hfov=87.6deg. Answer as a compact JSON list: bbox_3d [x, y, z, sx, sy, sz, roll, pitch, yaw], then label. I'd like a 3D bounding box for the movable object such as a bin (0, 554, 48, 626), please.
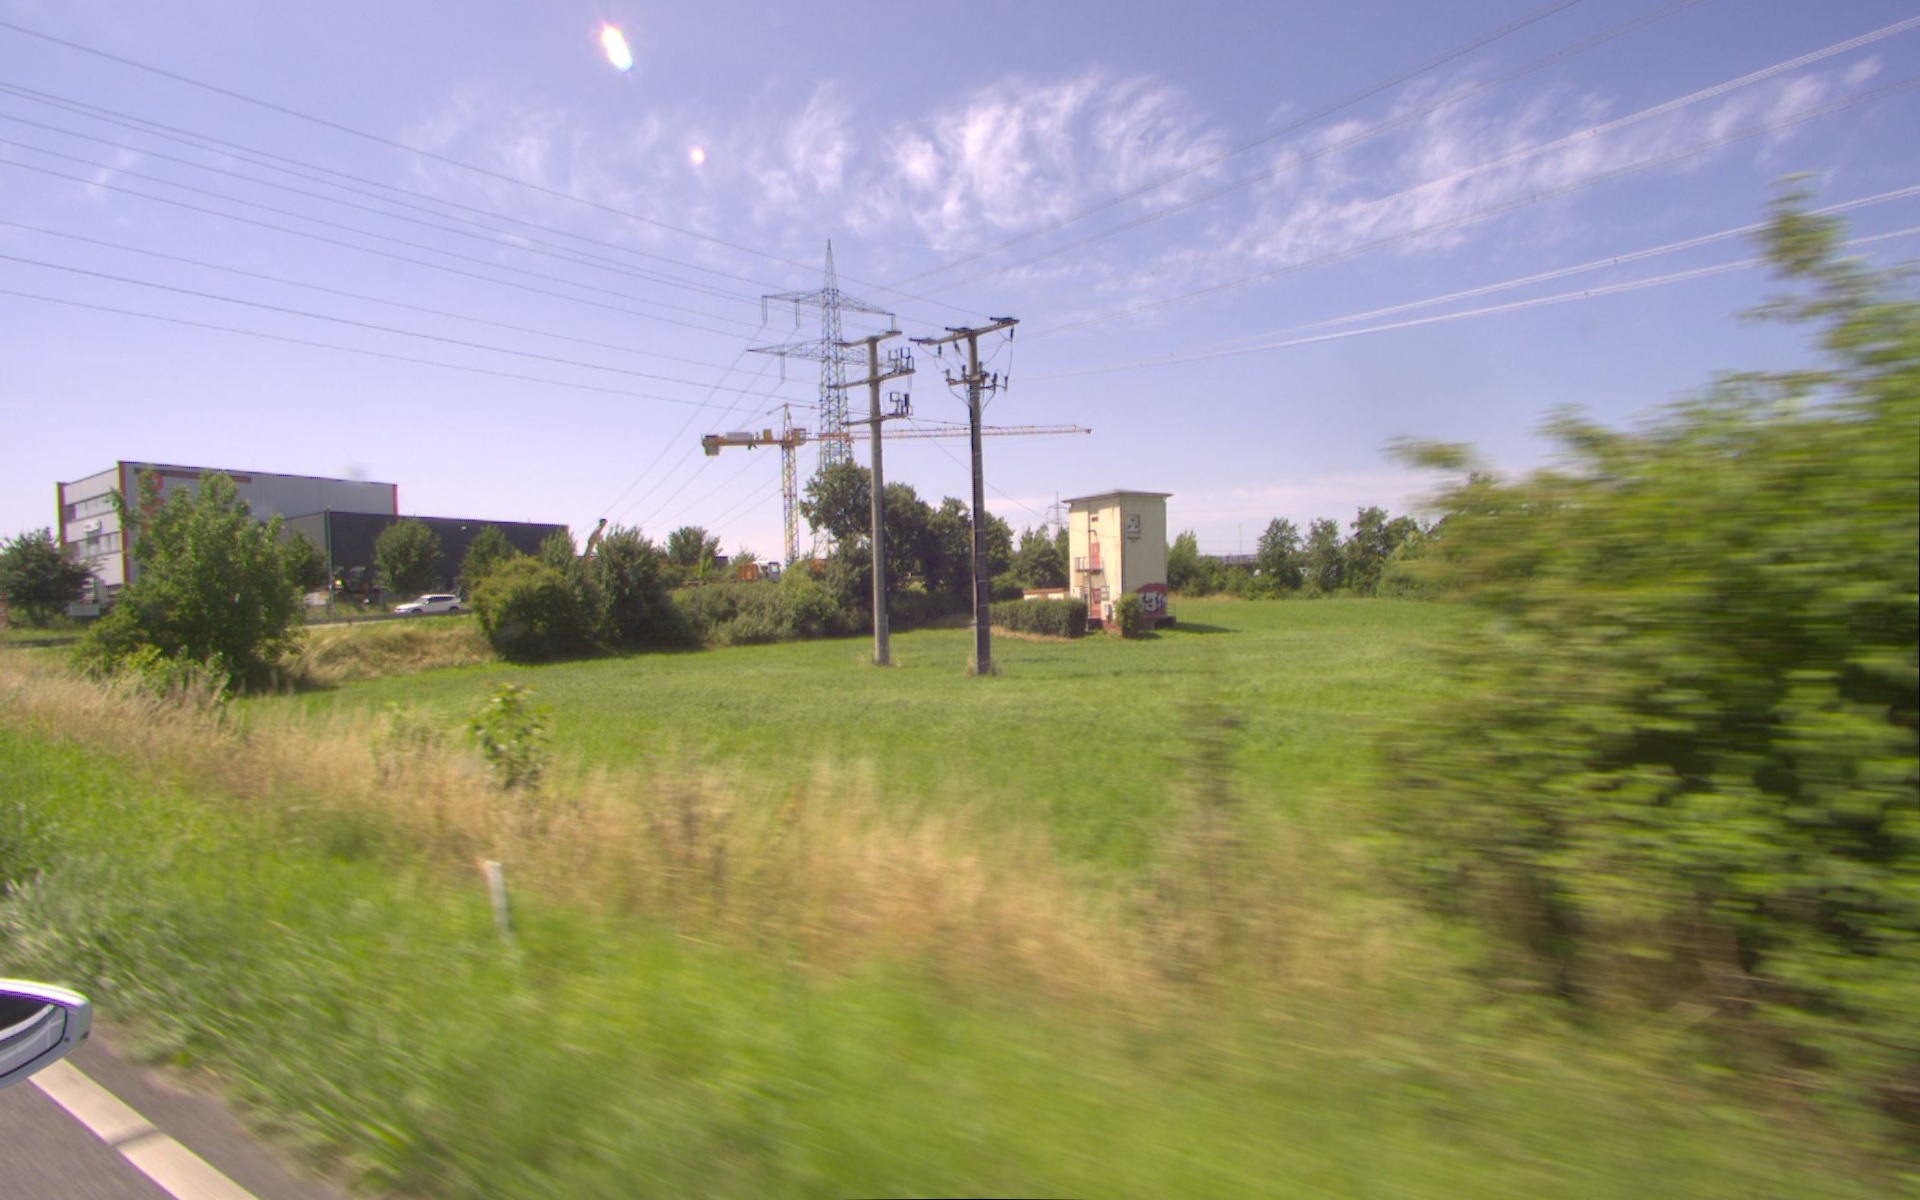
[{"bbox_3d":[-73.172,-0.700,74.994,3.757,5.212,6.573,-3,-2,35],"label":"movable object such as a bin"}]

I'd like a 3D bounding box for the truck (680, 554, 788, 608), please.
[{"bbox_3d":[-19.680,-1.555,88.070,3.271,4.235,9.648,-3,-2,33],"label":"truck"}]

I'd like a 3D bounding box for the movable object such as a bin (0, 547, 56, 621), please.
[{"bbox_3d":[-70.054,-1.149,72.746,3.068,5.169,5.903,-3,-2,35],"label":"movable object such as a bin"}]

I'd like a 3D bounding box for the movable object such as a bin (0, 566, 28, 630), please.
[{"bbox_3d":[-67.419,-0.125,68.356,2.797,4.328,5.071,-3,-2,35],"label":"movable object such as a bin"}]

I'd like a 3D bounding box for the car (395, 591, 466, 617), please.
[{"bbox_3d":[-37.404,0.260,70.834,1.734,1.644,4.071,1,3,34],"label":"car"}]
